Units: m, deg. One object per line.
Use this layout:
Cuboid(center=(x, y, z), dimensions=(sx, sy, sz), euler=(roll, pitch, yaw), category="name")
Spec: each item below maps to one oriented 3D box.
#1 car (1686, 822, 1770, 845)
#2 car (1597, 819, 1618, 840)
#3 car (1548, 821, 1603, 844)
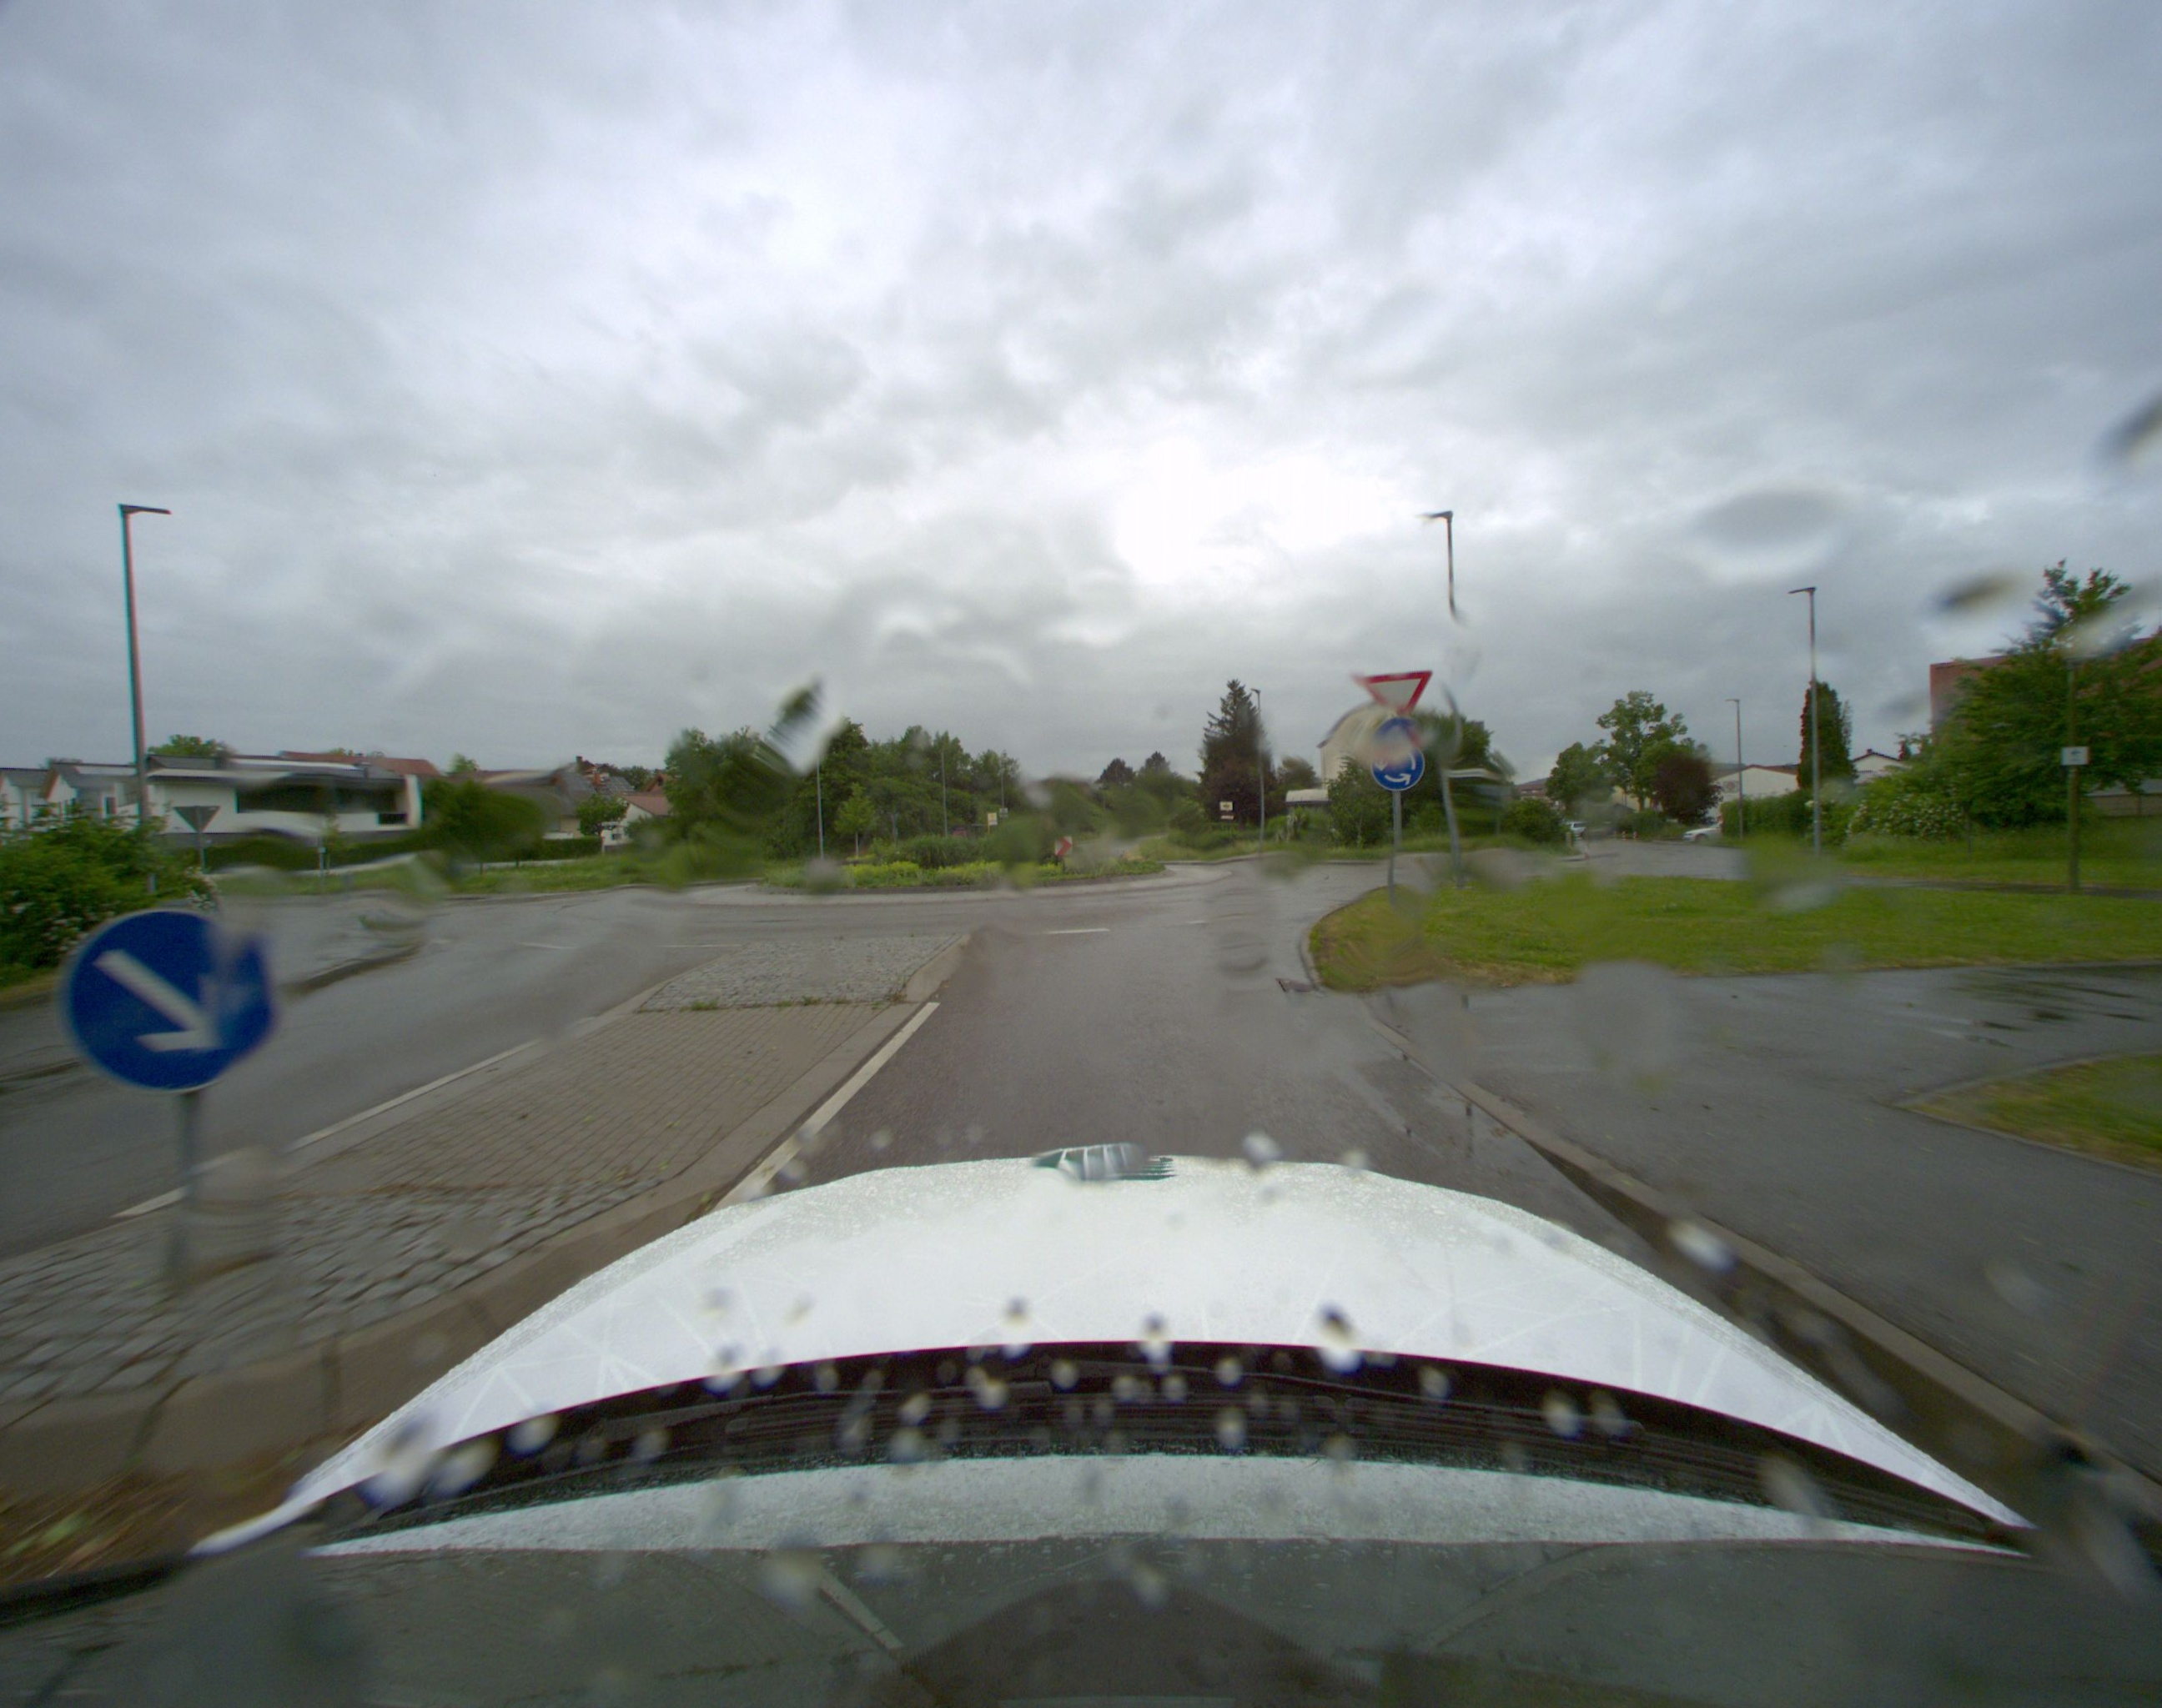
Cuboid(center=(41.529, -1.328, 52.372), dimensions=(3.949, 1.374, 1.795), euler=(-1, 1, 28), category="car")
Cuboid(center=(53.061, -2.453, 82.082), dimensions=(1.568, 2.013, 4.026), euler=(-3, 0, 35), category="car")
Cuboid(center=(44.777, -1.960, 73.753), dimensions=(3.949, 1.827, 1.909), euler=(-2, 0, 41), category="car")
